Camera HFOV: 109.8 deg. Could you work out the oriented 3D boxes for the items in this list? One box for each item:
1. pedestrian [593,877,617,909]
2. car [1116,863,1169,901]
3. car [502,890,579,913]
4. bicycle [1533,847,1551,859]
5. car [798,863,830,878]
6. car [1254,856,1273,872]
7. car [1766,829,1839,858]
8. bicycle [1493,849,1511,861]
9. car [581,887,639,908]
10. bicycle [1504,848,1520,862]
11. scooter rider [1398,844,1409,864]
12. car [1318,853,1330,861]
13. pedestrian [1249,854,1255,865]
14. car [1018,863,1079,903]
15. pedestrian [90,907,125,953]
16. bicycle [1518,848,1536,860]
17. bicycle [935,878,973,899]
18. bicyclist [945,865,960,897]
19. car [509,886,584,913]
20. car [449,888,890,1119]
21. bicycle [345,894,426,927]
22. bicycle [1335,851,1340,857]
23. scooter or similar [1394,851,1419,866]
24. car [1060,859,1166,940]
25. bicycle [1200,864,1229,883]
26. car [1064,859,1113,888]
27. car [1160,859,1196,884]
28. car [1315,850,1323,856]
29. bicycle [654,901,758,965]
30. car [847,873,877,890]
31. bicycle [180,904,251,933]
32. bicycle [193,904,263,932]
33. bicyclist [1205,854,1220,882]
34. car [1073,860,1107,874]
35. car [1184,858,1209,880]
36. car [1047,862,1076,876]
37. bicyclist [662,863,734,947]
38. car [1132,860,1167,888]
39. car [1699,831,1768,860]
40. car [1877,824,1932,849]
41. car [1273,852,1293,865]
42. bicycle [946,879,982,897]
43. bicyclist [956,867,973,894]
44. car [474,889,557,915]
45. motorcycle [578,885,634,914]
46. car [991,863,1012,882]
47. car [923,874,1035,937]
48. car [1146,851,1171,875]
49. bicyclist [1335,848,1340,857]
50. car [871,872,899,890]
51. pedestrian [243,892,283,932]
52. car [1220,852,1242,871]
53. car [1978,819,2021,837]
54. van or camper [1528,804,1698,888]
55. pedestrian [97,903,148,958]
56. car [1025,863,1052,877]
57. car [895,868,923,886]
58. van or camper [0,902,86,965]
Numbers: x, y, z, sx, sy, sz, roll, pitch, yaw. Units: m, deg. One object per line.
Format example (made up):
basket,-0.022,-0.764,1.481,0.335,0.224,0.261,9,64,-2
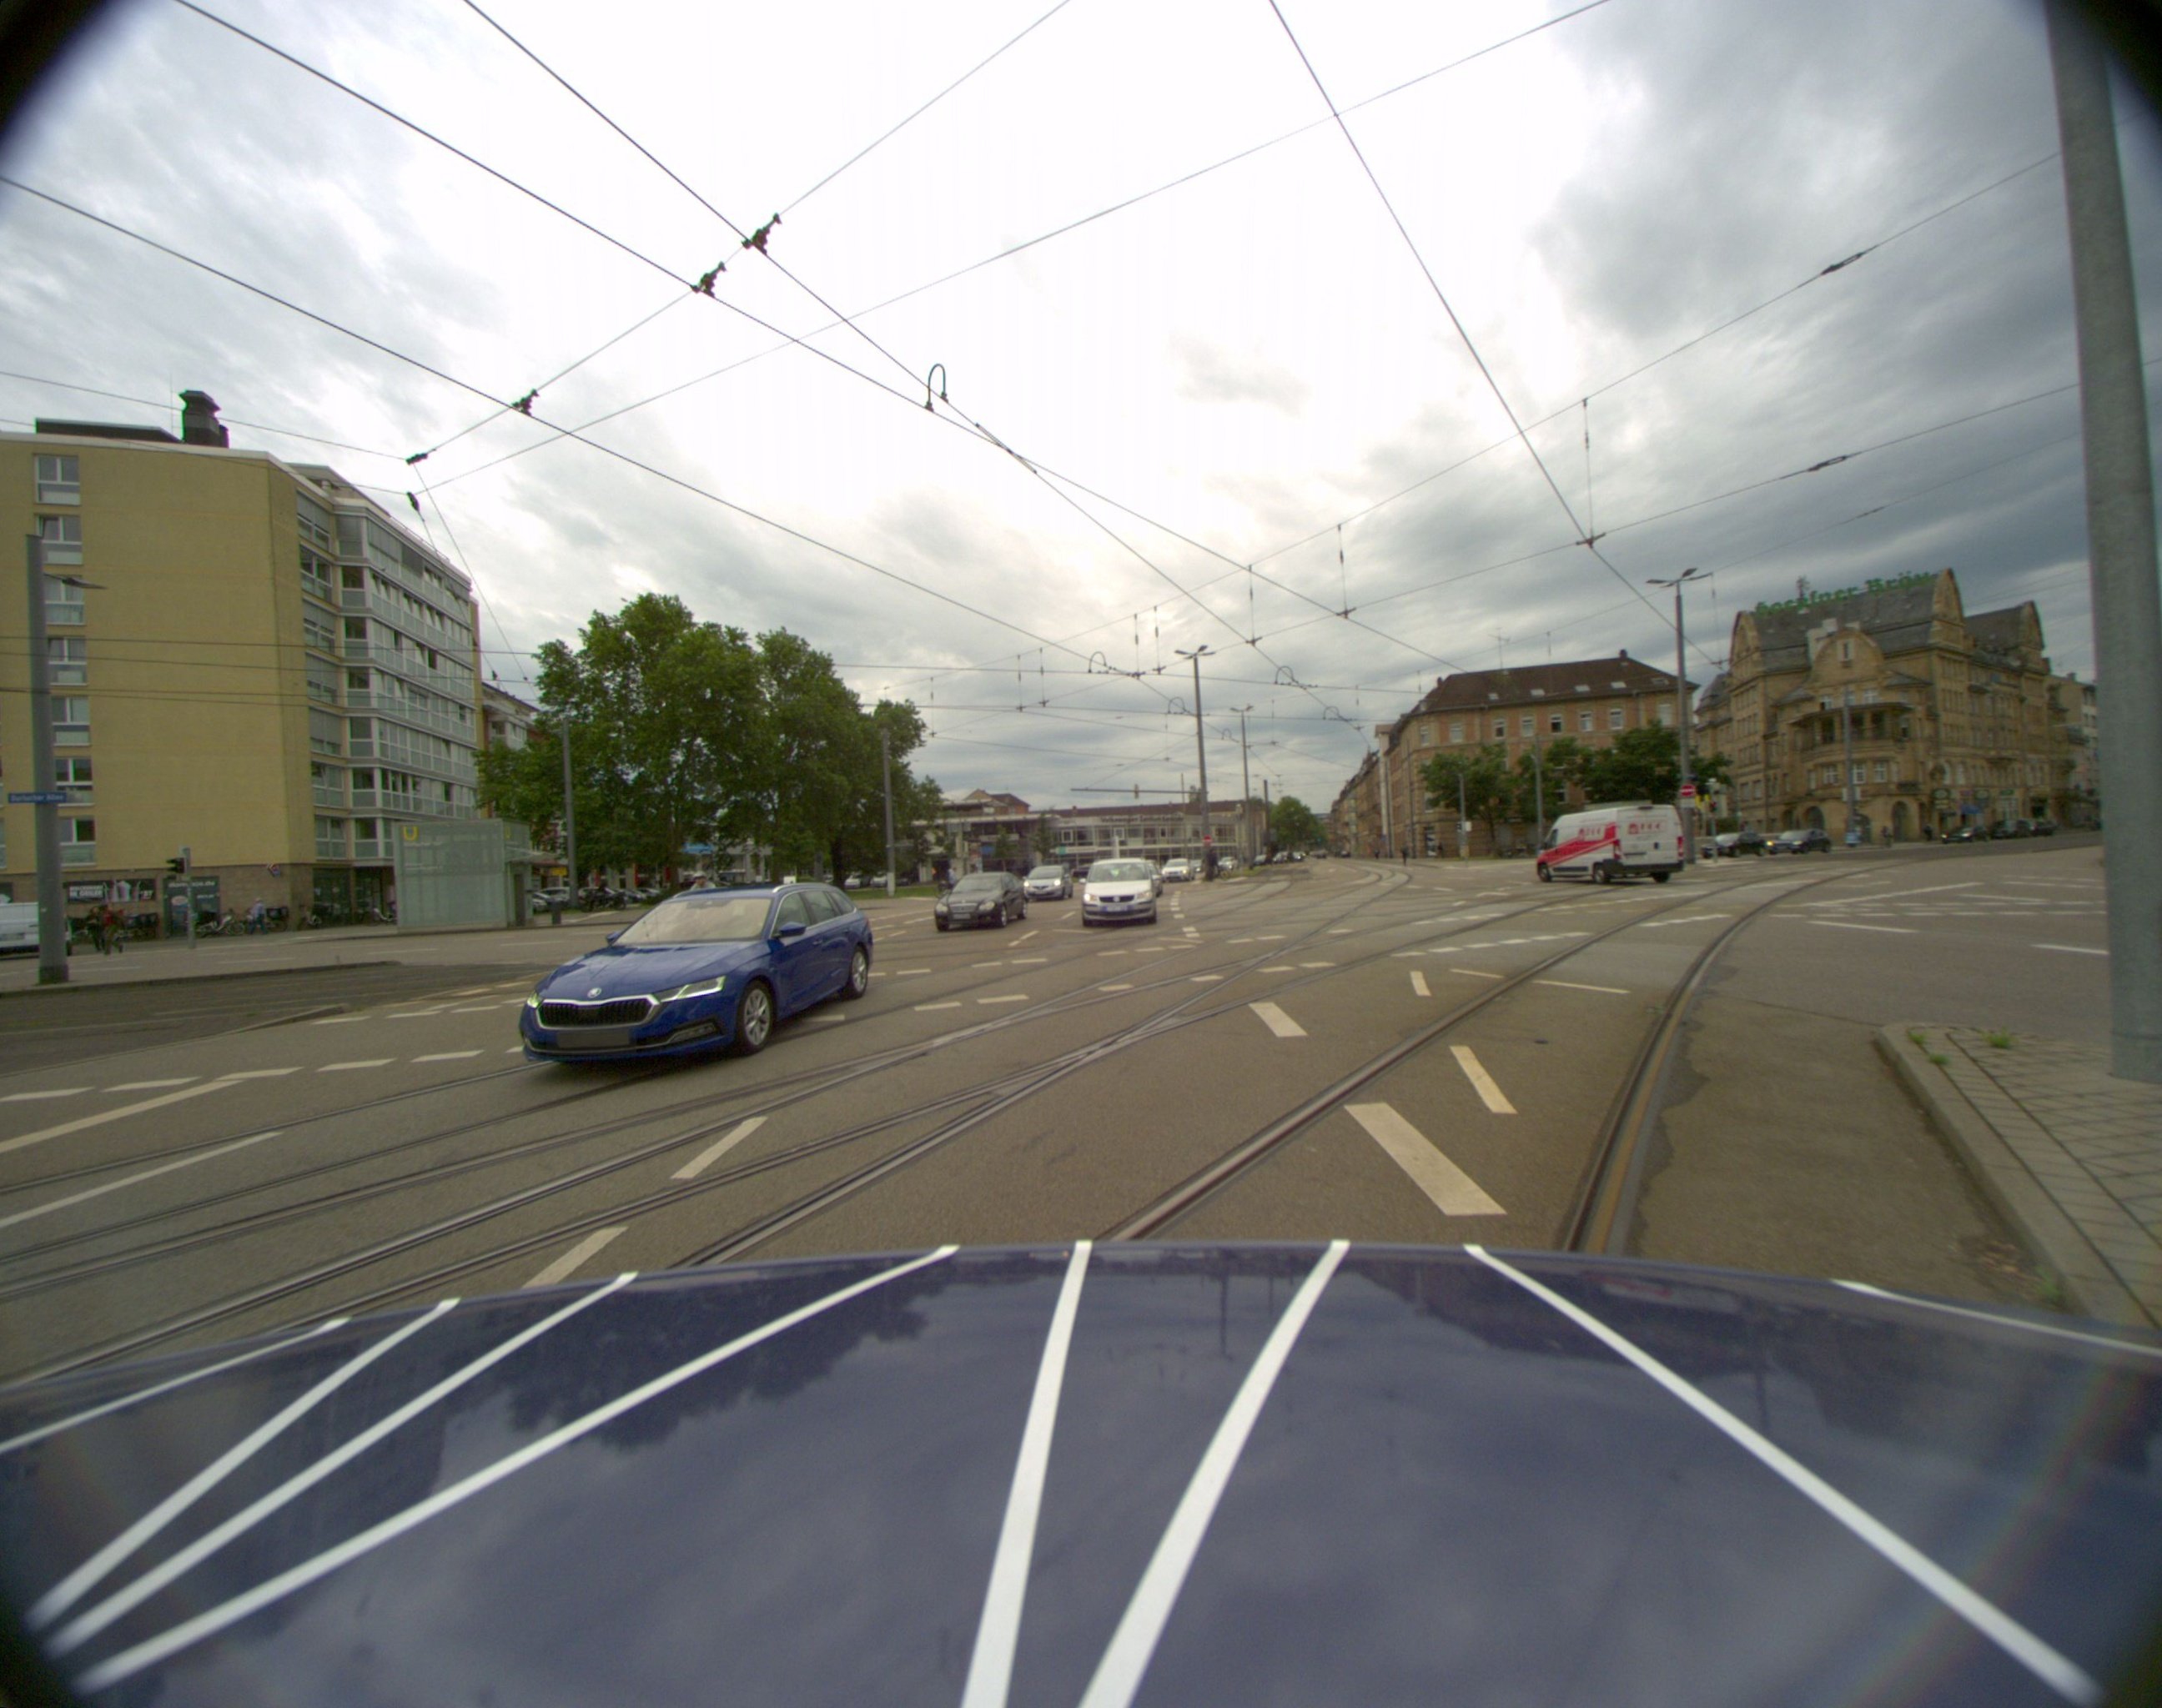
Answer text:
pedestrian,-28.497,2.333,45.494,0.866,1.808,0.898,-2,0,-7
car,2.668,1.131,32.280,1.808,1.398,3.986,-2,0,10
car,-37.086,3.219,52.236,4.005,1.327,1.833,-2,0,-25
bicycle,40.885,-0.056,67.403,0.753,1.024,2.399,-3,0,16
car,-32.250,1.959,91.823,3.119,1.505,1.440,-3,4,5
car,24.038,1.288,100.019,1.996,2.002,4.005,-3,0,17
car,48.368,-0.721,50.939,4.931,1.704,2.159,-2,-1,-30
bicycle,37.956,0.118,68.515,0.836,1.024,2.399,-3,0,16
car,-41.323,3.803,66.713,4.004,1.604,1.997,-2,-1,-23
bicycle,38.721,0.083,68.291,0.753,1.025,2.398,-3,3,16
scooter rider,27.463,-0.015,64.693,0.820,1.618,0.570,-3,0,24
car,47.636,0.639,149.131,1.886,1.461,4.469,-3,0,15
pedestrian,26.071,0.883,115.852,0.662,1.671,0.651,-2,0,15
car,-1.325,1.192,32.649,1.708,1.474,3.937,-4,-1,10
pedestrian,-37.642,2.919,29.382,0.822,1.705,0.618,-2,0,23
bicycle,39.719,-0.002,67.660,0.753,1.024,2.399,-3,-1,16
bicycle,-6.910,1.869,41.430,1.993,0.992,0.579,-3,-3,-11
bicyclist,-7.030,1.479,41.426,0.735,1.740,0.586,-2,-2,-11
car,-38.146,3.231,54.357,4.004,1.713,1.996,-2,0,-24
car,-3.585,1.189,7.870,1.769,1.427,4.758,-3,0,2
bicycle,-34.054,2.750,37.254,2.785,1.369,0.903,-2,0,-14
bicycle,52.705,-0.034,156.037,0.798,1.285,2.414,-3,0,15
scooter or similar,27.674,0.363,64.610,1.902,1.158,0.575,-3,0,24
car,0.960,1.000,18.730,1.862,1.609,5.066,-3,-1,10
bicycle,7.833,1.133,44.682,1.616,1.063,0.527,-2,0,-23
car,0.513,1.125,45.587,1.980,1.550,4.149,-3,0,14
car,6.287,1.075,48.885,1.971,1.447,4.197,-3,-1,11
car,62.902,-0.251,200.599,1.813,1.423,4.022,-3,0,15
bicycle,-7.701,1.596,15.725,0.762,1.072,2.018,-4,-1,13
car,-26.207,3.245,91.019,1.955,1.459,4.227,-3,5,5
bicycle,-39.313,2.933,34.533,2.042,1.162,0.669,-2,0,-19
bicycle,-39.495,2.951,35.205,2.042,1.162,0.669,-2,0,-19
bicyclist,7.726,0.828,44.643,0.656,1.629,0.517,-3,0,-22
car,1.111,1.604,91.909,3.902,1.432,1.734,-3,0,7
car,11.710,1.501,76.705,1.996,2.002,4.004,-3,0,14
car,-2.342,1.760,90.168,1.793,1.551,4.026,-3,0,-27
bicyclist,-7.798,1.020,15.496,0.790,1.608,0.934,-4,0,12
car,5.259,1.490,57.802,1.996,2.002,4.004,-3,0,14
car,41.902,-0.540,48.803,4.251,1.601,1.996,-3,0,-30
car,63.257,-1.319,58.374,4.007,1.749,1.829,-2,0,-27
car,28.786,0.608,108.178,2.369,1.744,5.136,-3,0,20
bicycle,-6.649,1.921,43.089,1.945,0.992,0.602,1,0,-4
bicyclist,-6.612,1.491,43.121,0.886,1.513,0.672,0,0,-3
car,-36.999,3.124,49.823,4.005,1.433,1.996,-2,0,-24
motorcycle,-24.461,2.319,39.169,2.295,1.358,1.045,-2,0,-24
car,-9.393,2.162,89.771,1.956,1.634,4.670,-3,4,-1
car,-2.589,1.286,20.362,1.768,1.362,4.425,-2,0,9
car,6.833,0.783,66.764,1.997,2.002,4.003,-3,0,8
bicyclist,52.656,-0.318,155.933,0.823,1.855,0.925,-3,0,15
car,-23.353,3.216,90.735,1.955,1.589,4.227,-3,6,5
pedestrian,-37.242,2.631,34.599,0.907,1.727,0.812,-2,0,-17
car,17.359,0.882,87.690,1.996,2.002,4.005,-3,0,17
car,84.605,-2.434,69.967,4.007,1.457,1.829,-3,0,-30
van or camper,18.011,-0.208,26.179,2.284,2.512,5.576,-2,0,5
pedestrian,-32.280,2.558,25.596,0.790,1.746,1.046,-2,0,-37
car,-5.058,1.880,89.581,1.959,1.516,4.222,-3,1,-20
car,-20.529,2.695,90.788,1.955,1.449,4.226,-3,7,5
van or camper,-37.927,2.812,27.442,5.452,1.967,2.176,-3,0,35
